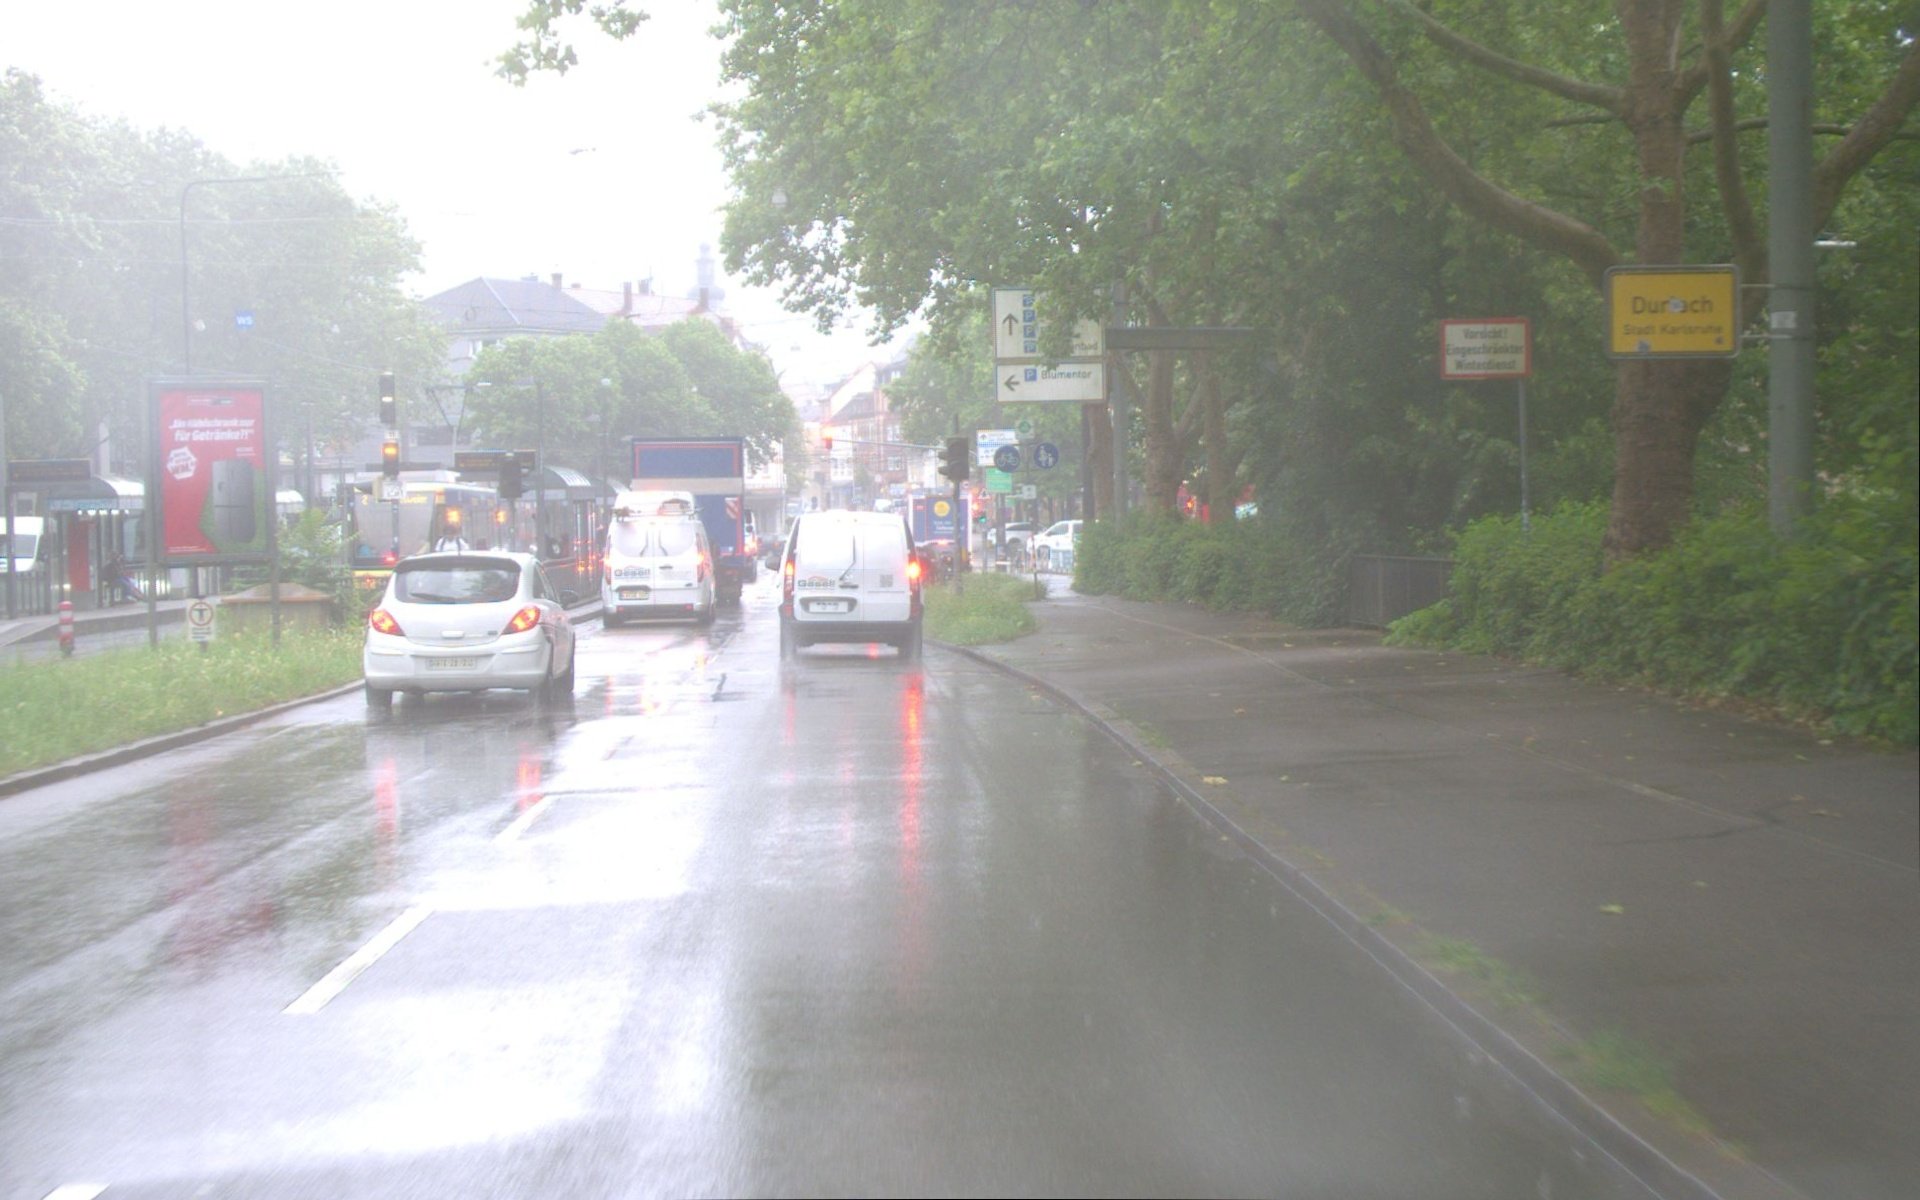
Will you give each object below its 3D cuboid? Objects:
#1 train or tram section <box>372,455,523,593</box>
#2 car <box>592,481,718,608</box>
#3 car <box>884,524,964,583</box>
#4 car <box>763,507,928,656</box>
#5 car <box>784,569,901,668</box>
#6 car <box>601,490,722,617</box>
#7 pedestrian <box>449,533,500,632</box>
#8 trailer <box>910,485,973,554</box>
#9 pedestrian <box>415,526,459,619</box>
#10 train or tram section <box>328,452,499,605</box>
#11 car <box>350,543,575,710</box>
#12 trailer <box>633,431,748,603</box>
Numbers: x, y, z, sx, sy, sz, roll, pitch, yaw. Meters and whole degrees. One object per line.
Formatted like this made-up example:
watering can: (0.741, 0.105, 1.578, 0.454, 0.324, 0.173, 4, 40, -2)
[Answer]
train or tram section: (-13.112, -1.993, 88.596, 2.978, 3.274, 8.433, -2, 2, -3)
car: (-6.387, -1.137, 72.628, 2.329, 2.548, 6.115, 0, 0, -2)
car: (-0.966, -1.275, 93.771, 1.993, 1.536, 4.000, -1, 1, 2)
car: (-1.447, -0.229, 43.004, 1.959, 1.771, 3.570, 0, 0, -2)
car: (-1.960, 0.304, 58.420, 1.908, 1.612, 4.000, 0, 0, -1)
car: (-5.523, -0.836, 64.171, 1.993, 2.254, 5.289, 0, 0, -2)
pedestrian: (-8.574, -0.307, 60.708, 0.790, 1.708, 0.771, 1, 0, -3)
trailer: (-0.658, -2.777, 120.220, 1.993, 2.309, 4.669, 0, 0, -3)
pedestrian: (-9.915, -0.518, 65.170, 0.715, 1.738, 0.751, -1, 1, -3)
train or tram section: (-12.643, -1.719, 80.208, 2.961, 3.274, 8.362, -2, 2, -3)
car: (-4.648, 0.231, 32.532, 1.725, 1.474, 3.806, 0, 0, -2)
trailer: (-6.344, -1.961, 81.784, 2.590, 3.886, 7.637, 0, 1, -3)
